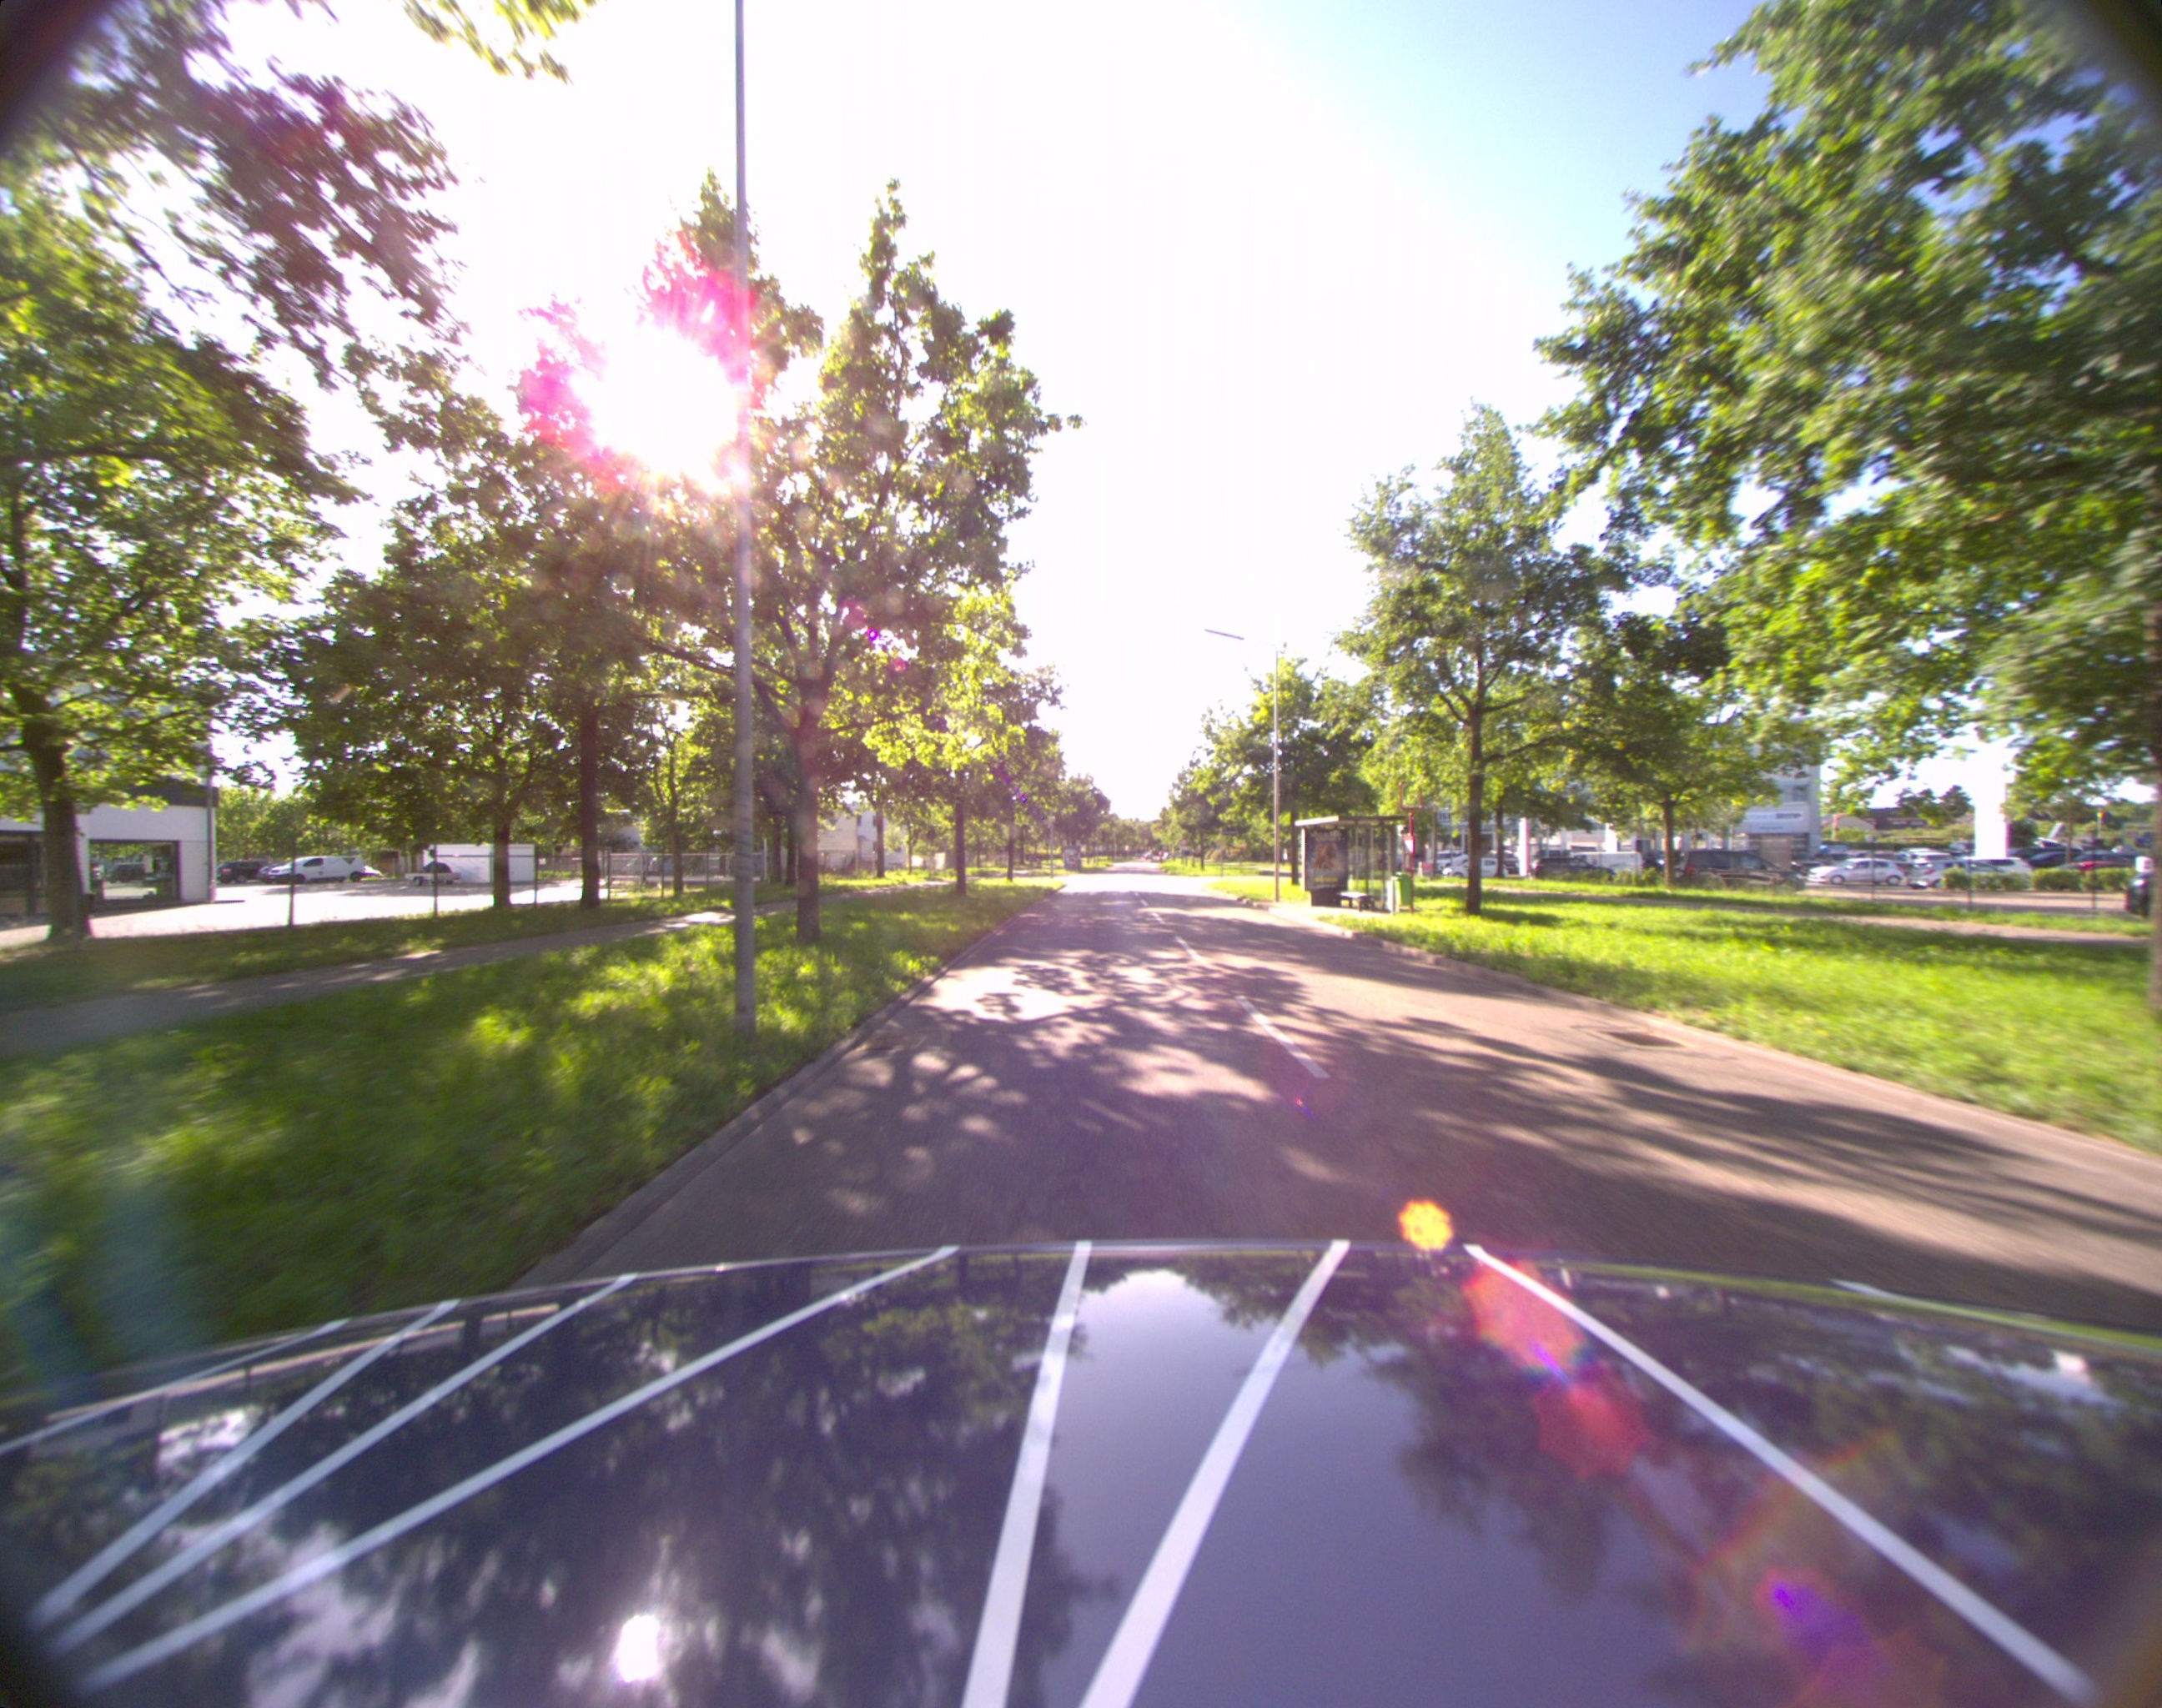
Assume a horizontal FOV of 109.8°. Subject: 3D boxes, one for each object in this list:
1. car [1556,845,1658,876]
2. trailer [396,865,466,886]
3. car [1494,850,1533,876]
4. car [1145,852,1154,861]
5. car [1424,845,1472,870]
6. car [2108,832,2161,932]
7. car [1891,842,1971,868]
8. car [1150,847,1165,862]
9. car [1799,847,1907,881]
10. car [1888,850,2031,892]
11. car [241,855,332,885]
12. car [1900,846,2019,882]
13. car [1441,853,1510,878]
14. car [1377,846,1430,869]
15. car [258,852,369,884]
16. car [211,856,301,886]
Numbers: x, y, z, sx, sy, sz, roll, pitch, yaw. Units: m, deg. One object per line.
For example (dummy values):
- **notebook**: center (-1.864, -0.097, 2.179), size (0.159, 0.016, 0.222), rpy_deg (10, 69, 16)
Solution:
- **car**: center (33.459, 0.421, 48.541), size (5.039, 1.827, 2.003), rpy_deg (-2, 1, 24)
- **trailer**: center (-41.631, 1.388, 48.696), size (3.589, 1.259, 1.733), rpy_deg (-1, 0, 18)
- **car**: center (33.702, 0.658, 59.122), size (1.994, 1.827, 4.007), rpy_deg (-2, 1, 39)
- **car**: center (15.000, 0.529, 166.101), size (1.997, 2.002, 4.002), rpy_deg (-1, 0, 7)
- **car**: center (29.654, 0.255, 61.378), size (4.007, 1.827, 1.995), rpy_deg (-3, 1, -39)
- **car**: center (24.316, 0.605, 14.435), size (1.998, 2.162, 5.671), rpy_deg (-1, 0, 1)
- **car**: center (57.834, 0.041, 51.812), size (1.996, 1.672, 4.005), rpy_deg (-2, 1, 21)
- **car**: center (10.494, 0.051, 104.385), size (1.997, 2.002, 4.002), rpy_deg (-1, 0, 7)
- **car**: center (45.260, 0.579, 44.649), size (3.992, 1.827, 2.002), rpy_deg (-2, 1, 18)
- **car**: center (41.532, 0.791, 36.035), size (3.992, 1.827, 2.002), rpy_deg (-2, 1, 16)
- **car**: center (-57.540, 1.127, 55.127), size (1.996, 2.002, 4.005), rpy_deg (-2, 1, 19)
- **car**: center (49.860, 0.563, 43.230), size (3.992, 1.827, 2.002), rpy_deg (-2, 1, 18)
- **car**: center (26.347, 0.783, 50.842), size (3.885, 1.493, 2.003), rpy_deg (-2, 1, 21)
- **car**: center (28.173, 0.276, 66.440), size (4.004, 1.827, 1.996), rpy_deg (-3, 1, -23)
- **car**: center (-54.609, 0.952, 54.193), size (1.996, 2.002, 5.121), rpy_deg (-2, 1, 17)
- **car**: center (-61.499, 1.268, 56.733), size (1.996, 2.002, 4.005), rpy_deg (-2, 1, 19)
